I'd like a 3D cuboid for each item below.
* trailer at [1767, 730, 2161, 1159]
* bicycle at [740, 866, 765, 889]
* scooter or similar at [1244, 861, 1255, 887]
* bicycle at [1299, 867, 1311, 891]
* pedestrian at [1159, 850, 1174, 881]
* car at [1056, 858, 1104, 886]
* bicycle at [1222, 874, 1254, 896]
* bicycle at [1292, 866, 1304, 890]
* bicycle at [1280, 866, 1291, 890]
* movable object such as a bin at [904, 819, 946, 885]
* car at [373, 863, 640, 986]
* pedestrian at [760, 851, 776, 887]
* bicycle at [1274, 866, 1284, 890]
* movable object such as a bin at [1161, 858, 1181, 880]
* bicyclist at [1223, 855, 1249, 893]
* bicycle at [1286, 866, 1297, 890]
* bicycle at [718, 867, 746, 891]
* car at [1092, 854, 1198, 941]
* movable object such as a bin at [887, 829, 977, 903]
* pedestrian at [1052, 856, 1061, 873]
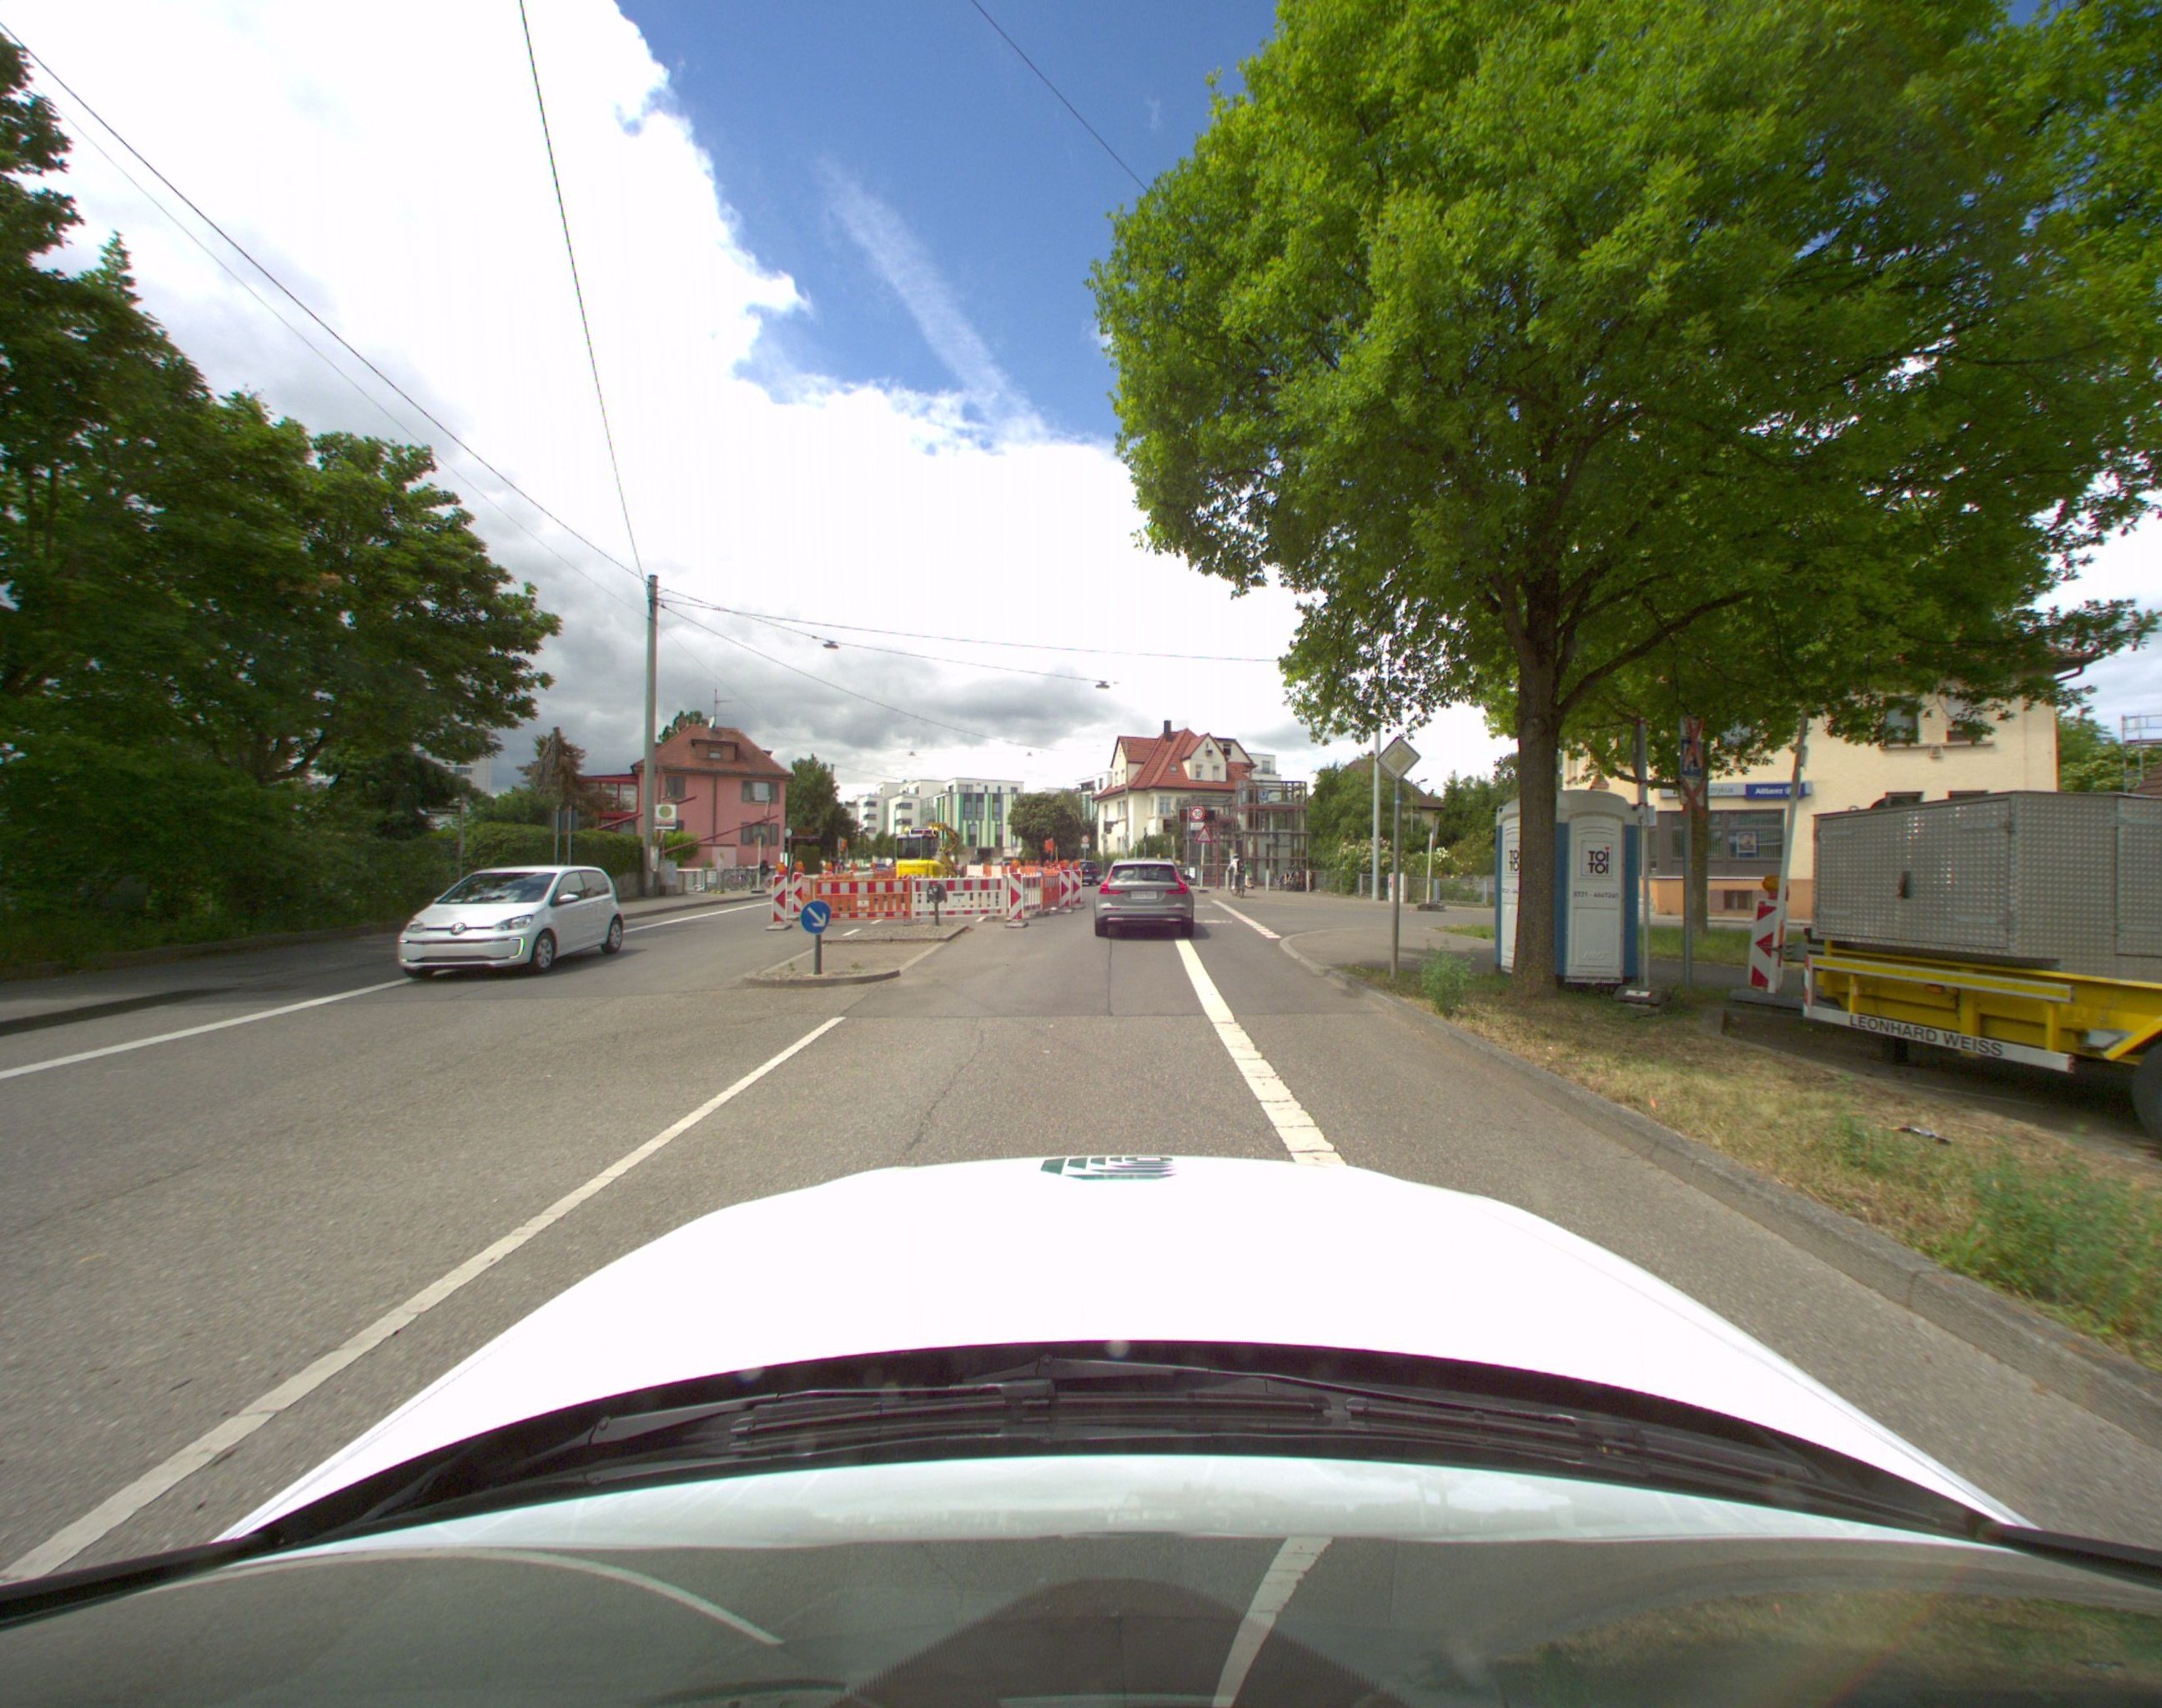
[{"bbox_3d":[6.958,0.518,3.938,2.583,2.245,5.675,2,0,2],"label":"trailer"},{"bbox_3d":[-16.341,1.163,40.567,0.537,1.082,2.128,-1,-1,-4],"label":"bicycle"},{"bbox_3d":[7.550,0.882,36.417,0.215,1.111,0.945,-1,2,-5],"label":"scooter or similar"},{"bbox_3d":[9.716,1.074,35.346,0.214,1.009,1.190,-1,-1,3],"label":"bicycle"},{"bbox_3d":[4.450,0.595,42.529,0.597,1.583,0.400,6,-3,-7],"label":"pedestrian"},{"bbox_3d":[-0.108,1.057,47.056,1.857,1.513,3.980,2,-1,-14],"label":"car"},{"bbox_3d":[5.969,1.172,31.109,0.635,0.753,2.057,1,0,-6],"label":"bicycle"},{"bbox_3d":[9.420,1.029,35.366,0.214,1.009,1.190,-1,-1,3],"label":"bicycle"},{"bbox_3d":[8.891,1.041,35.379,0.214,1.001,1.208,-1,-1,3],"label":"bicycle"},{"bbox_3d":[-10.979,-0.073,57.312,2.592,4.221,11.078,-1,-1,-11],"label":"movable object such as a bin"},{"bbox_3d":[-8.311,0.902,12.265,1.693,1.513,3.987,-1,-1,-9],"label":"car"},{"bbox_3d":[-16.266,0.774,42.325,0.678,1.886,0.584,-1,-1,-7],"label":"pedestrian"},{"bbox_3d":[8.611,1.042,35.397,0.214,0.989,1.205,-1,-1,3],"label":"bicycle"},{"bbox_3d":[6.182,1.005,56.043,1.264,1.470,1.004,1,-1,0],"label":"movable object such as a bin"},{"bbox_3d":[5.902,0.735,30.996,0.655,1.416,1.176,1,0,-7],"label":"bicyclist"},{"bbox_3d":[9.156,1.032,35.394,0.214,1.014,1.170,-1,-1,3],"label":"bicycle"},{"bbox_3d":[-16.168,1.137,37.785,0.537,1.082,2.128,-1,-1,-4],"label":"bicycle"},{"bbox_3d":[1.155,0.790,16.356,1.848,1.513,4.000,-1,-1,0],"label":"car"},{"bbox_3d":[-5.725,0.447,32.286,1.985,2.626,6.528,-1,-1,3],"label":"movable object such as a bin"},{"bbox_3d":[-2.265,0.989,74.756,0.515,1.540,0.640,-1,-1,40],"label":"pedestrian"}]
